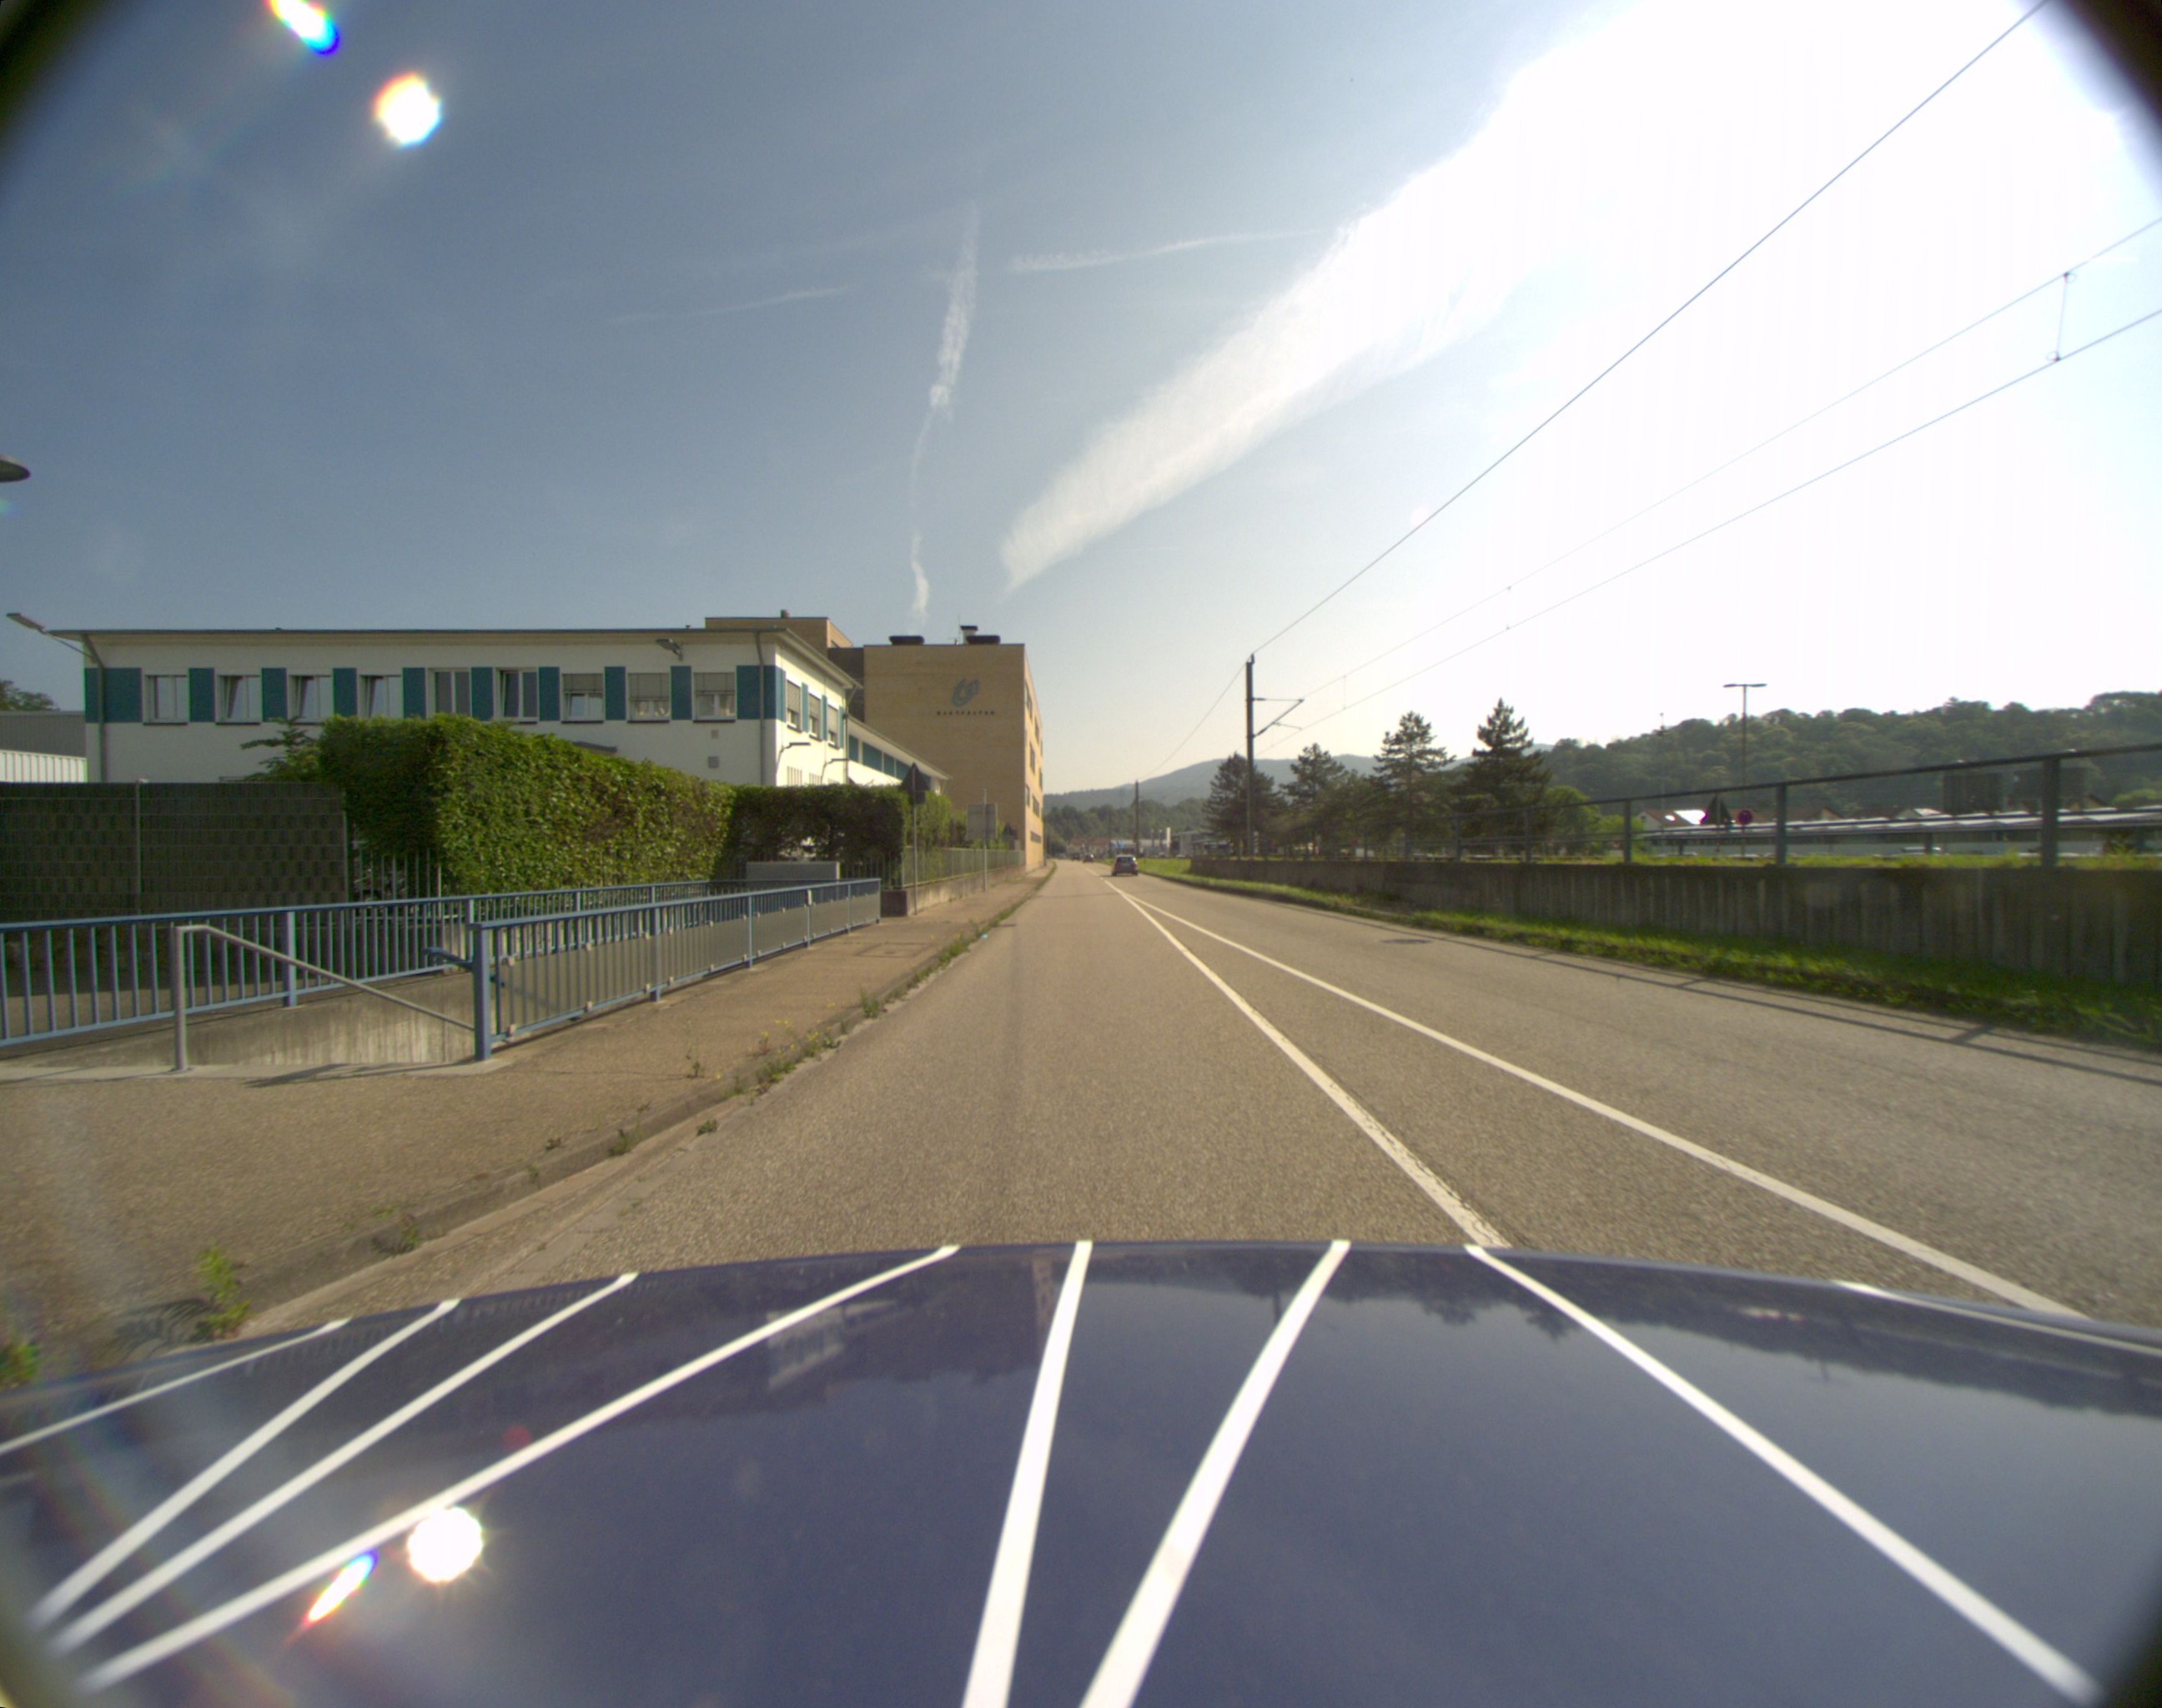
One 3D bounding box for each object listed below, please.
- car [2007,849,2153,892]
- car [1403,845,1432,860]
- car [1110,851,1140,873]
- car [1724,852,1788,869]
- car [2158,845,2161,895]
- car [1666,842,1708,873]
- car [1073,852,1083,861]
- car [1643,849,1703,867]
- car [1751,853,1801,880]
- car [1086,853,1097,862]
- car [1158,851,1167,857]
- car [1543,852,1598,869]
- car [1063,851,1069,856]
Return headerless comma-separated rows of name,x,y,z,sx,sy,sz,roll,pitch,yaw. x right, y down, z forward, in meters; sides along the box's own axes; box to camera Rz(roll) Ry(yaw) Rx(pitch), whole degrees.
car,39.361,0.624,29.972,4.000,1.527,1.816,-1,0,-9
car,32.261,-0.154,72.856,1.515,1.349,3.528,0,1,43
car,3.219,0.586,56.422,1.746,1.498,4.198,-1,0,-2
car,52.621,0.497,59.284,3.527,1.317,1.460,0,1,32
car,37.657,0.476,24.510,4.000,1.656,1.816,-1,1,-9
car,34.392,0.193,43.210,1.641,1.678,3.814,0,1,35
car,-0.692,0.534,174.006,1.763,2.066,4.806,-2,0,-3
car,46.033,0.295,59.184,3.527,1.317,1.460,0,1,32
car,35.346,0.614,38.694,1.453,1.317,3.544,0,1,36
car,1.737,0.593,129.491,1.736,1.517,4.091,-2,0,-1
car,22.921,0.010,213.298,1.523,1.679,4.367,-2,1,-9
car,38.037,0.481,59.091,3.527,1.317,1.460,0,1,31
car,-4.593,-0.224,228.709,1.773,1.397,4.295,0,0,-3
